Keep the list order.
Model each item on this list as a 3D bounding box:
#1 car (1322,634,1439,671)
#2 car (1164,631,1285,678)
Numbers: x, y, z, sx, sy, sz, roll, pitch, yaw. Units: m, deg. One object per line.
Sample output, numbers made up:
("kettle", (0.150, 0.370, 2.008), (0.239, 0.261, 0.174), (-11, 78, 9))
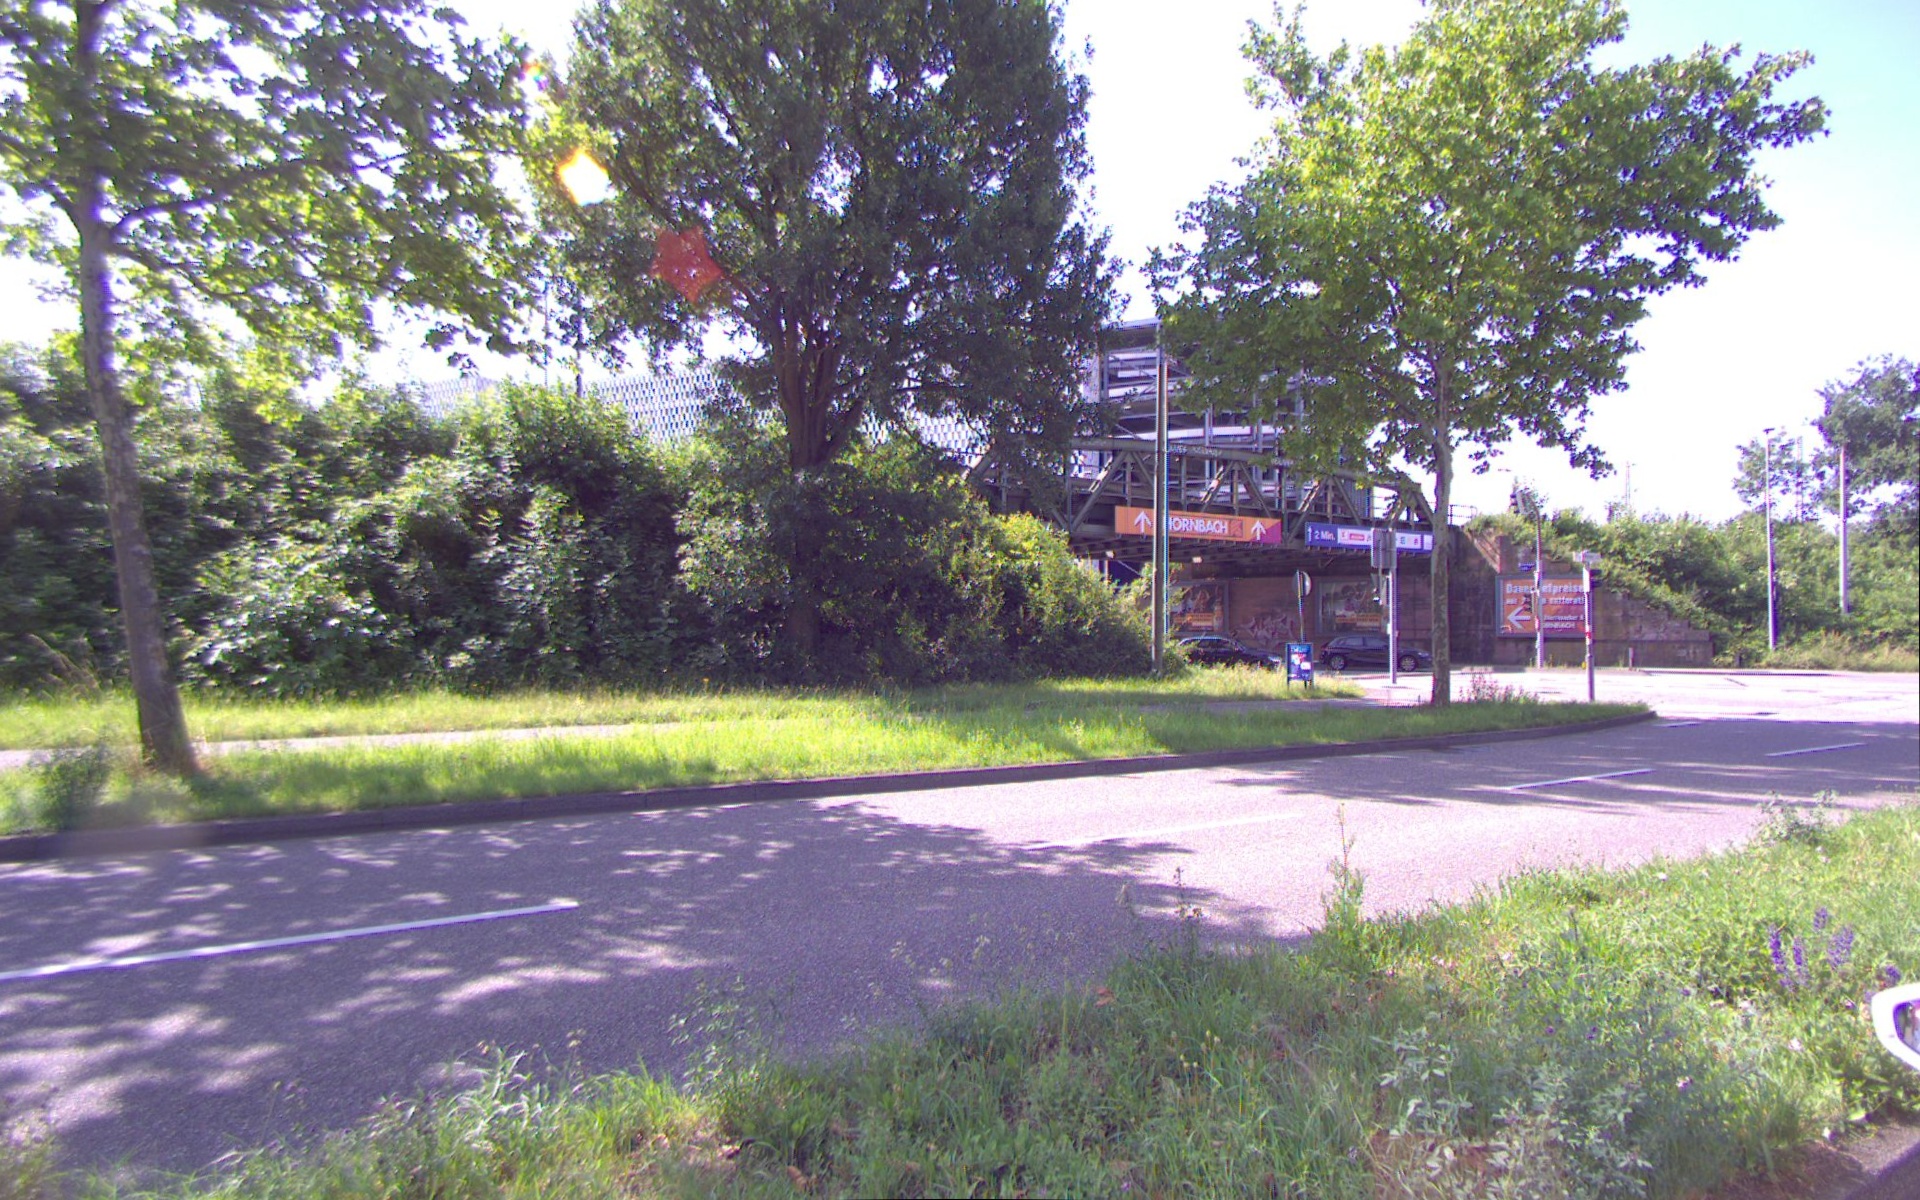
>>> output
("car", (16.865, 2.080, 40.358), (4.253, 1.413, 1.770), (-1, -2, 24))
("car", (9.329, 1.901, 35.433), (3.869, 1.500, 1.822), (1, -1, 25))
